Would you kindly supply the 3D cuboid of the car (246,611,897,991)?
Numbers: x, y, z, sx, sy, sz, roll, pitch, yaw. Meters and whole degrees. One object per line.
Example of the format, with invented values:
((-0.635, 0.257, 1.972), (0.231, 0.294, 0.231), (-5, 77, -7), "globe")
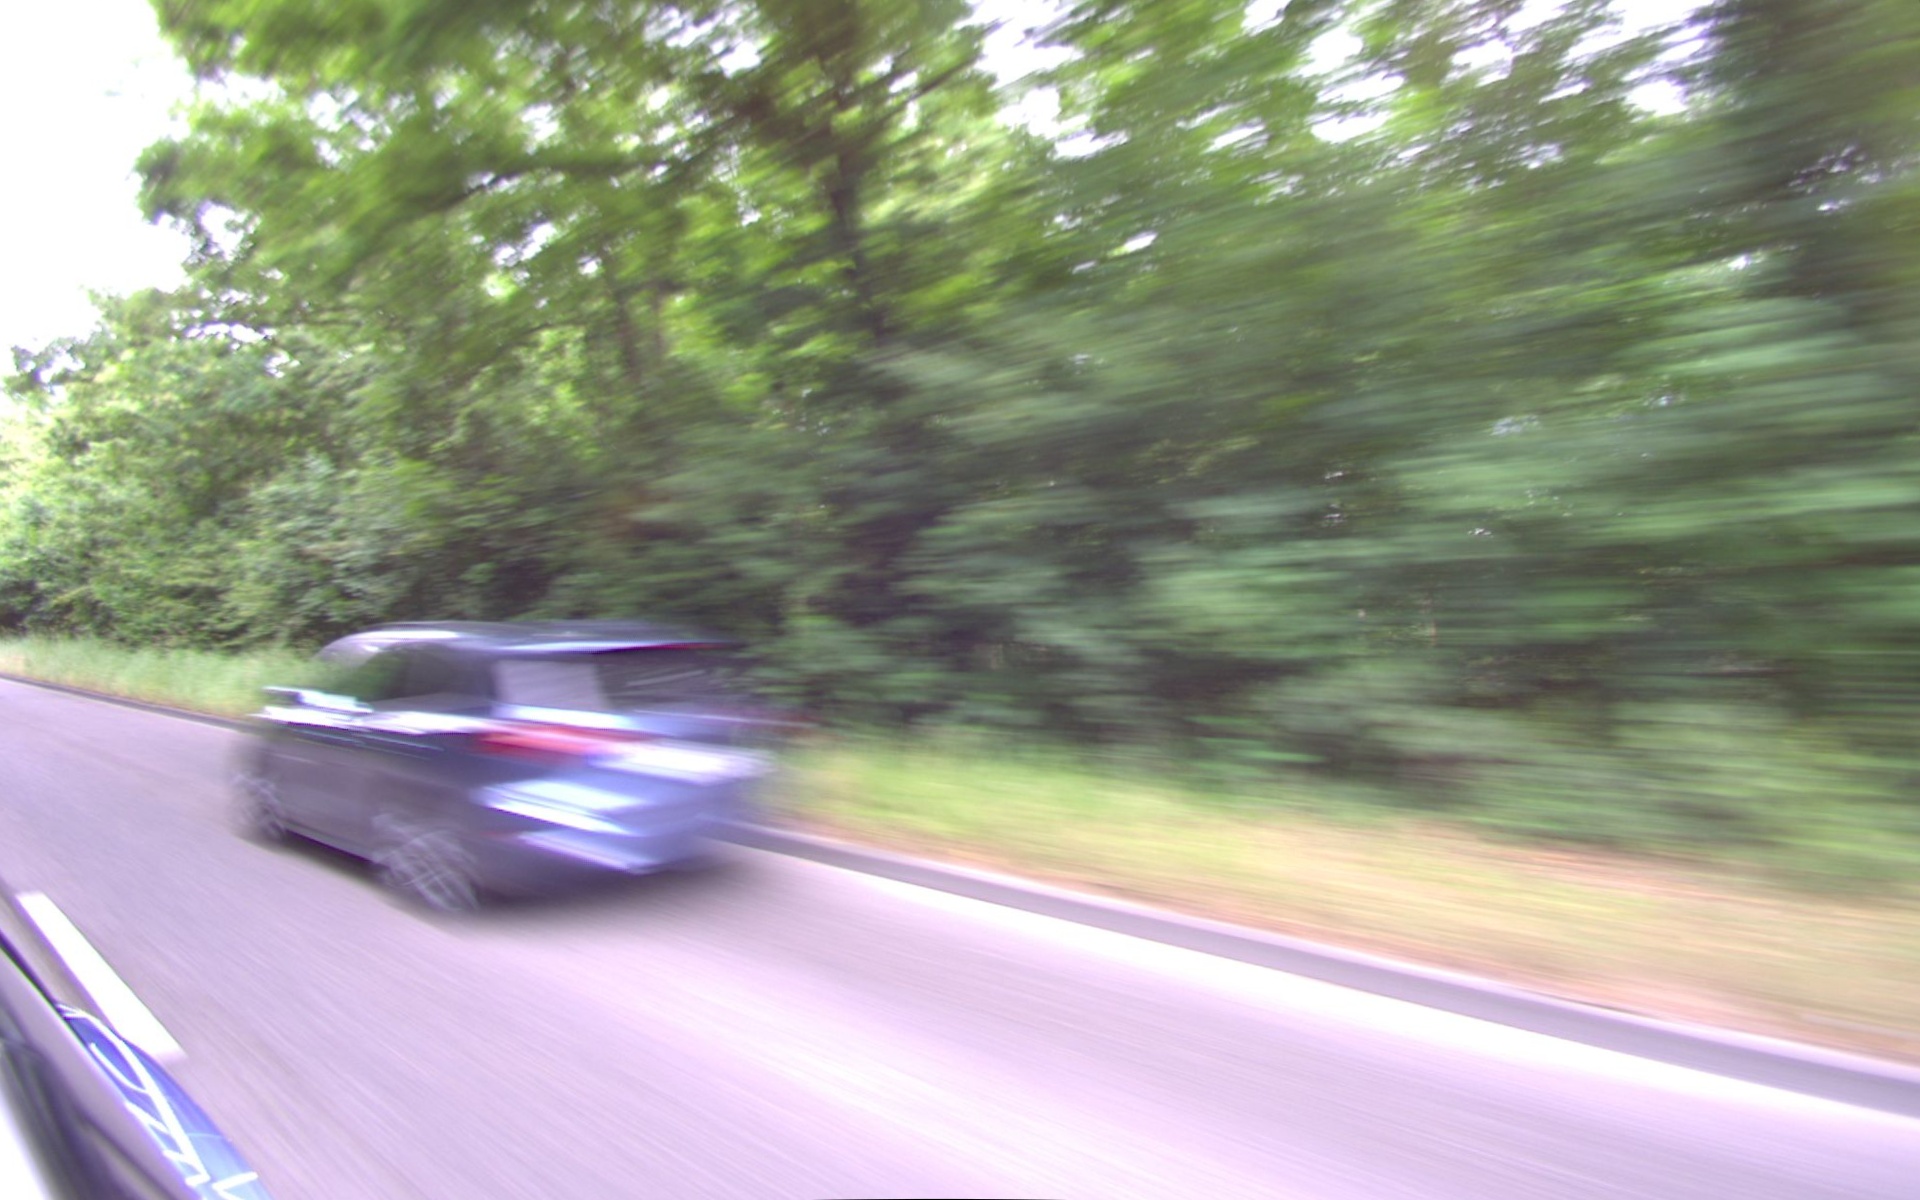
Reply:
((-2.500, 0.816, 6.056), (3.997, 1.448, 1.973), (0, 1, 41), "car")
